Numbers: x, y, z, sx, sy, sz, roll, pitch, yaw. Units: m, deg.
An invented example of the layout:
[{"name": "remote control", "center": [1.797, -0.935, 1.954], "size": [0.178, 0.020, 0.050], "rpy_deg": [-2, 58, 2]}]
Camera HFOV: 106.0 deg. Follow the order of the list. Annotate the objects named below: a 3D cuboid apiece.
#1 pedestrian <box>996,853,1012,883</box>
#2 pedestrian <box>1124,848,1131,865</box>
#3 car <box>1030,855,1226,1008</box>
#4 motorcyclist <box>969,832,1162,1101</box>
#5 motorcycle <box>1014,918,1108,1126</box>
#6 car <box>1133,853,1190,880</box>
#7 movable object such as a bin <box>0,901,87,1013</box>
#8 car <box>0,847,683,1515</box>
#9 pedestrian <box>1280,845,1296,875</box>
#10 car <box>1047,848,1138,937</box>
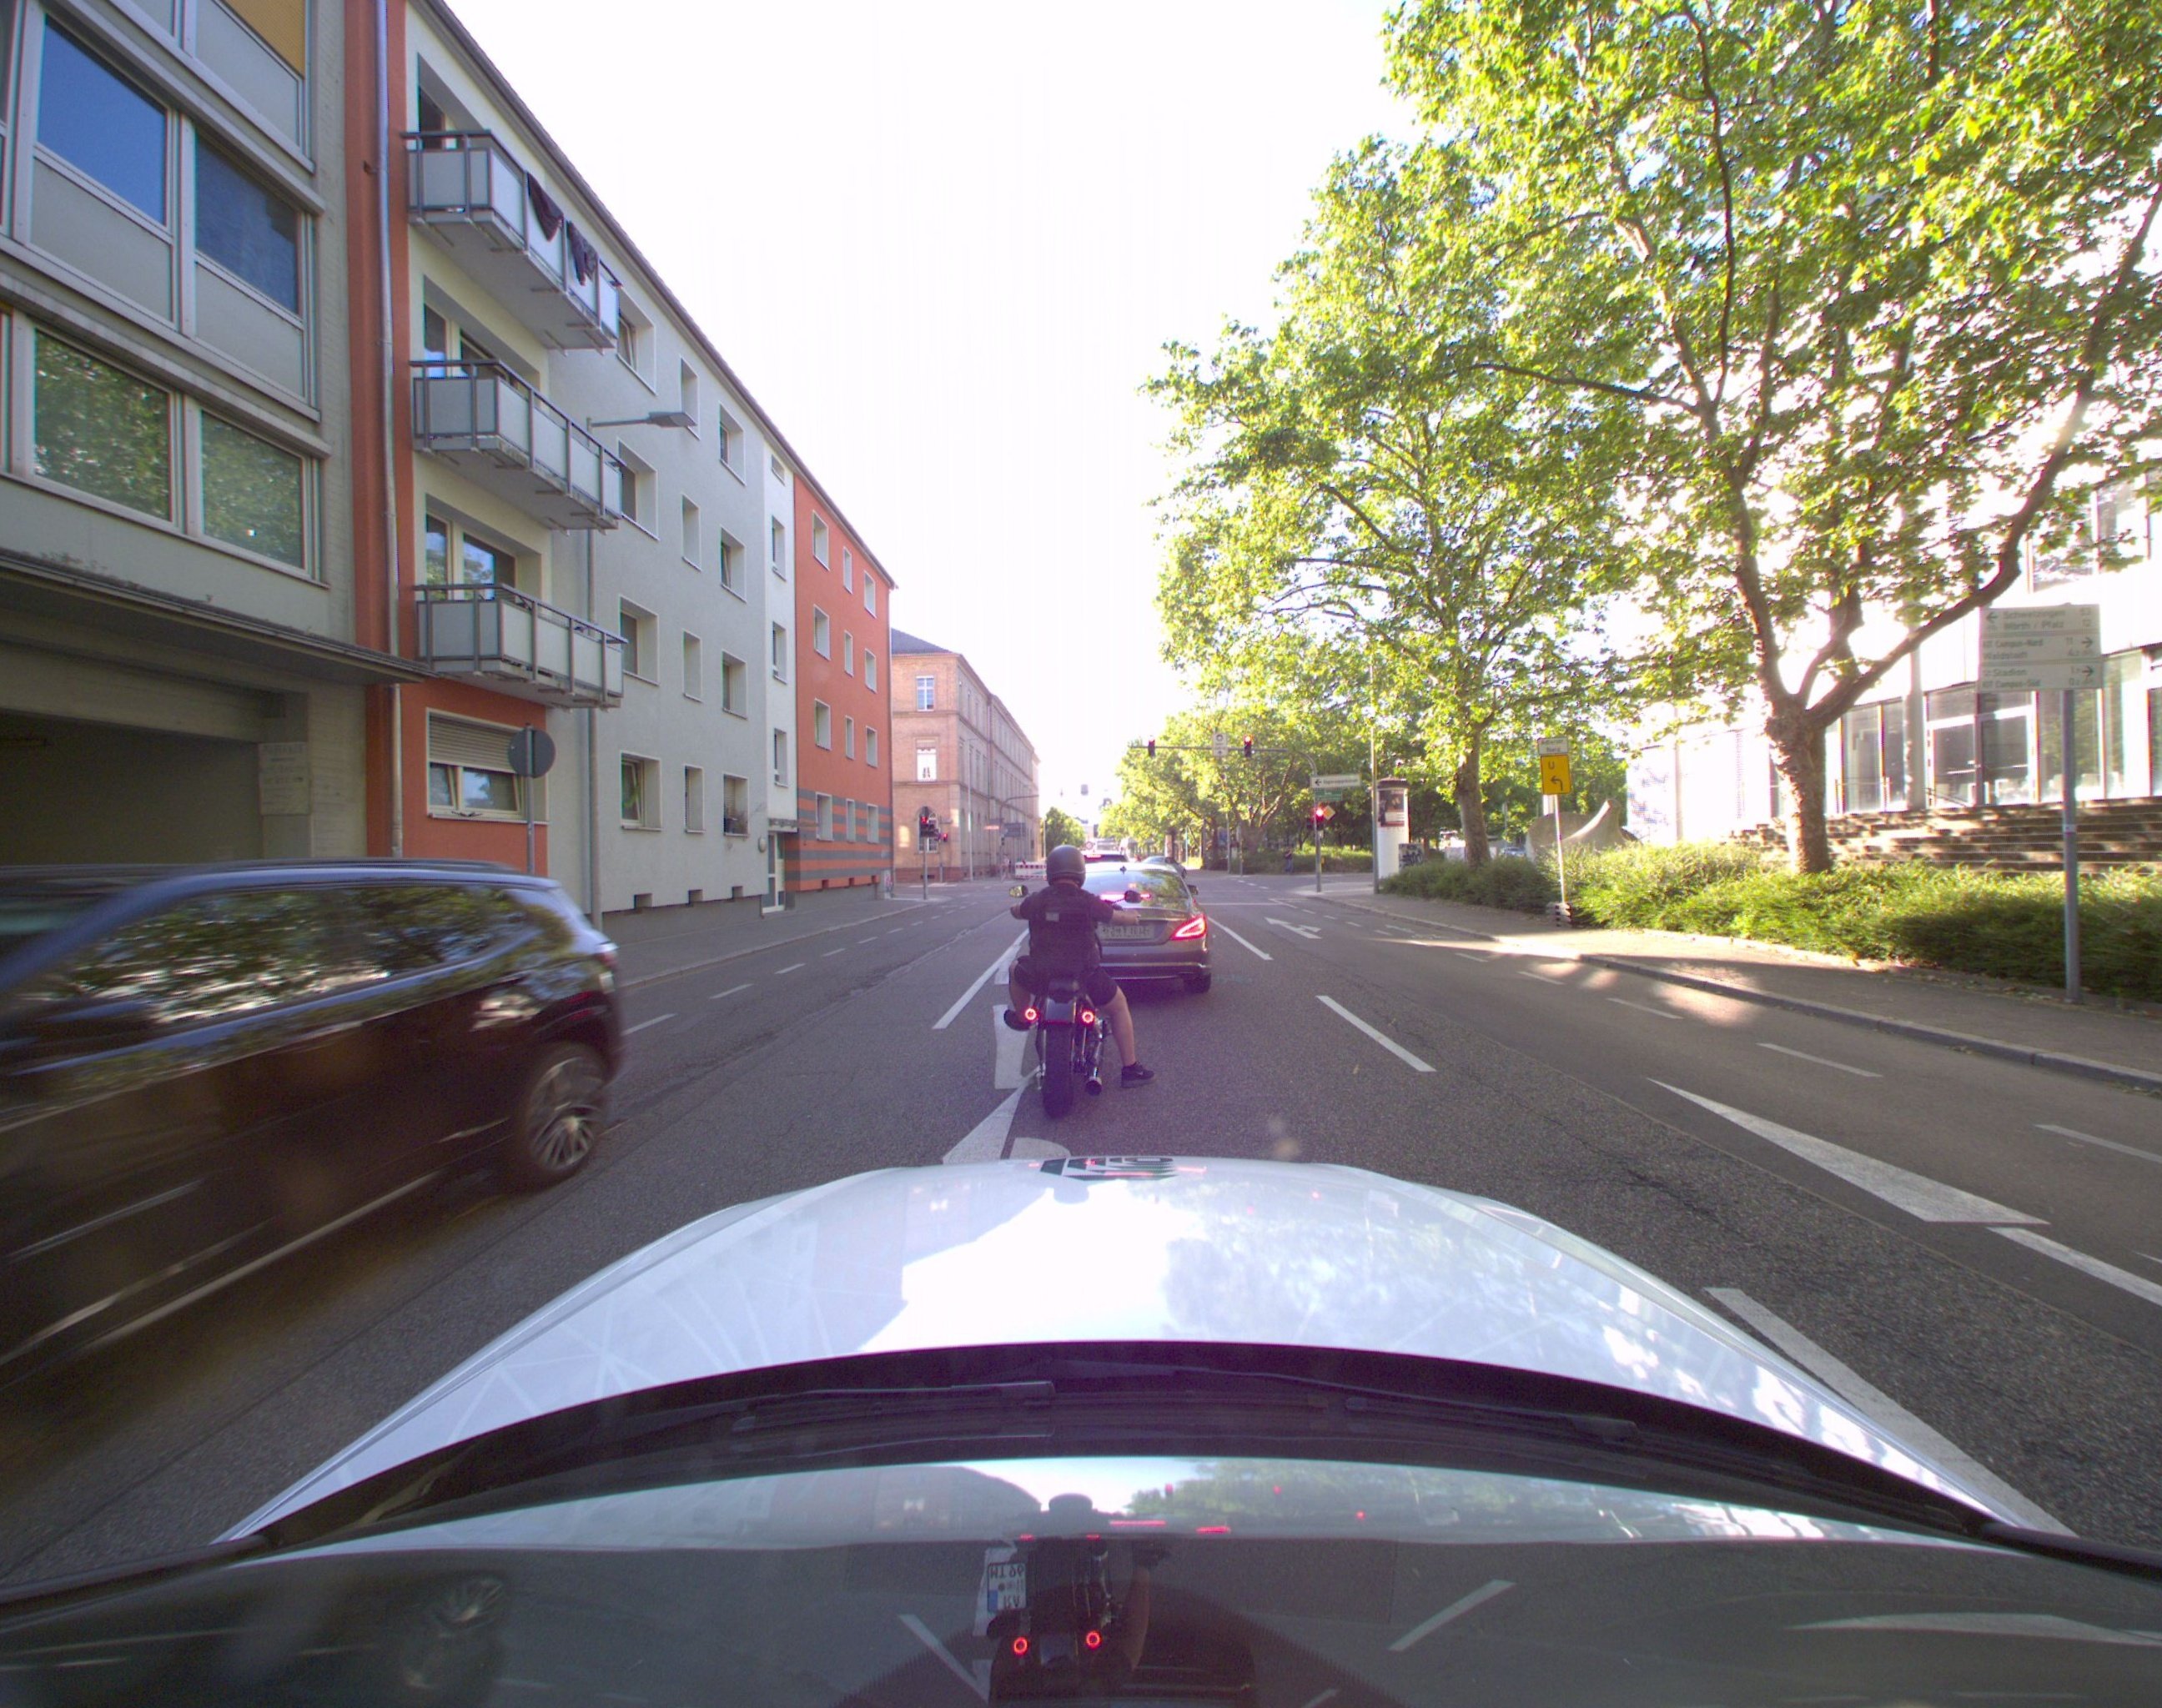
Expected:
[{"name": "pedestrian", "center": [-4.767, 0.883, 50.419], "size": [1.000, 1.826, 1.073], "rpy_deg": [0, -1, -7]}, {"name": "pedestrian", "center": [5.768, 0.283, 100.957], "size": [0.761, 2.051, 0.712], "rpy_deg": [0, -1, 1]}, {"name": "car", "center": [0.513, 0.743, 9.730], "size": [1.875, 1.449, 3.821], "rpy_deg": [0, 0, 2]}, {"name": "motorcyclist", "center": [-0.073, 0.676, 5.503], "size": [1.145, 1.598, 1.288], "rpy_deg": [0, -1, 1]}, {"name": "motorcycle", "center": [-0.078, 1.008, 5.510], "size": [0.511, 1.002, 2.014], "rpy_deg": [0, -1, 2]}, {"name": "car", "center": [4.991, 0.736, 50.014], "size": [1.834, 1.575, 4.161], "rpy_deg": [-1, -1, 31]}, {"name": "movable object such as a bin", "center": [-11.261, 1.067, 8.633], "size": [0.626, 1.100, 0.659], "rpy_deg": [0, -1, 4]}, {"name": "car", "center": [-3.452, 0.783, 2.902], "size": [1.843, 1.570, 4.386], "rpy_deg": [0, -1, 1]}, {"name": "pedestrian", "center": [13.143, 0.399, 51.679], "size": [0.916, 1.910, 0.755], "rpy_deg": [-1, -1, 16]}, {"name": "car", "center": [0.272, 0.696, 16.858], "size": [1.615, 1.594, 4.002], "rpy_deg": [-1, 0, 2]}]
